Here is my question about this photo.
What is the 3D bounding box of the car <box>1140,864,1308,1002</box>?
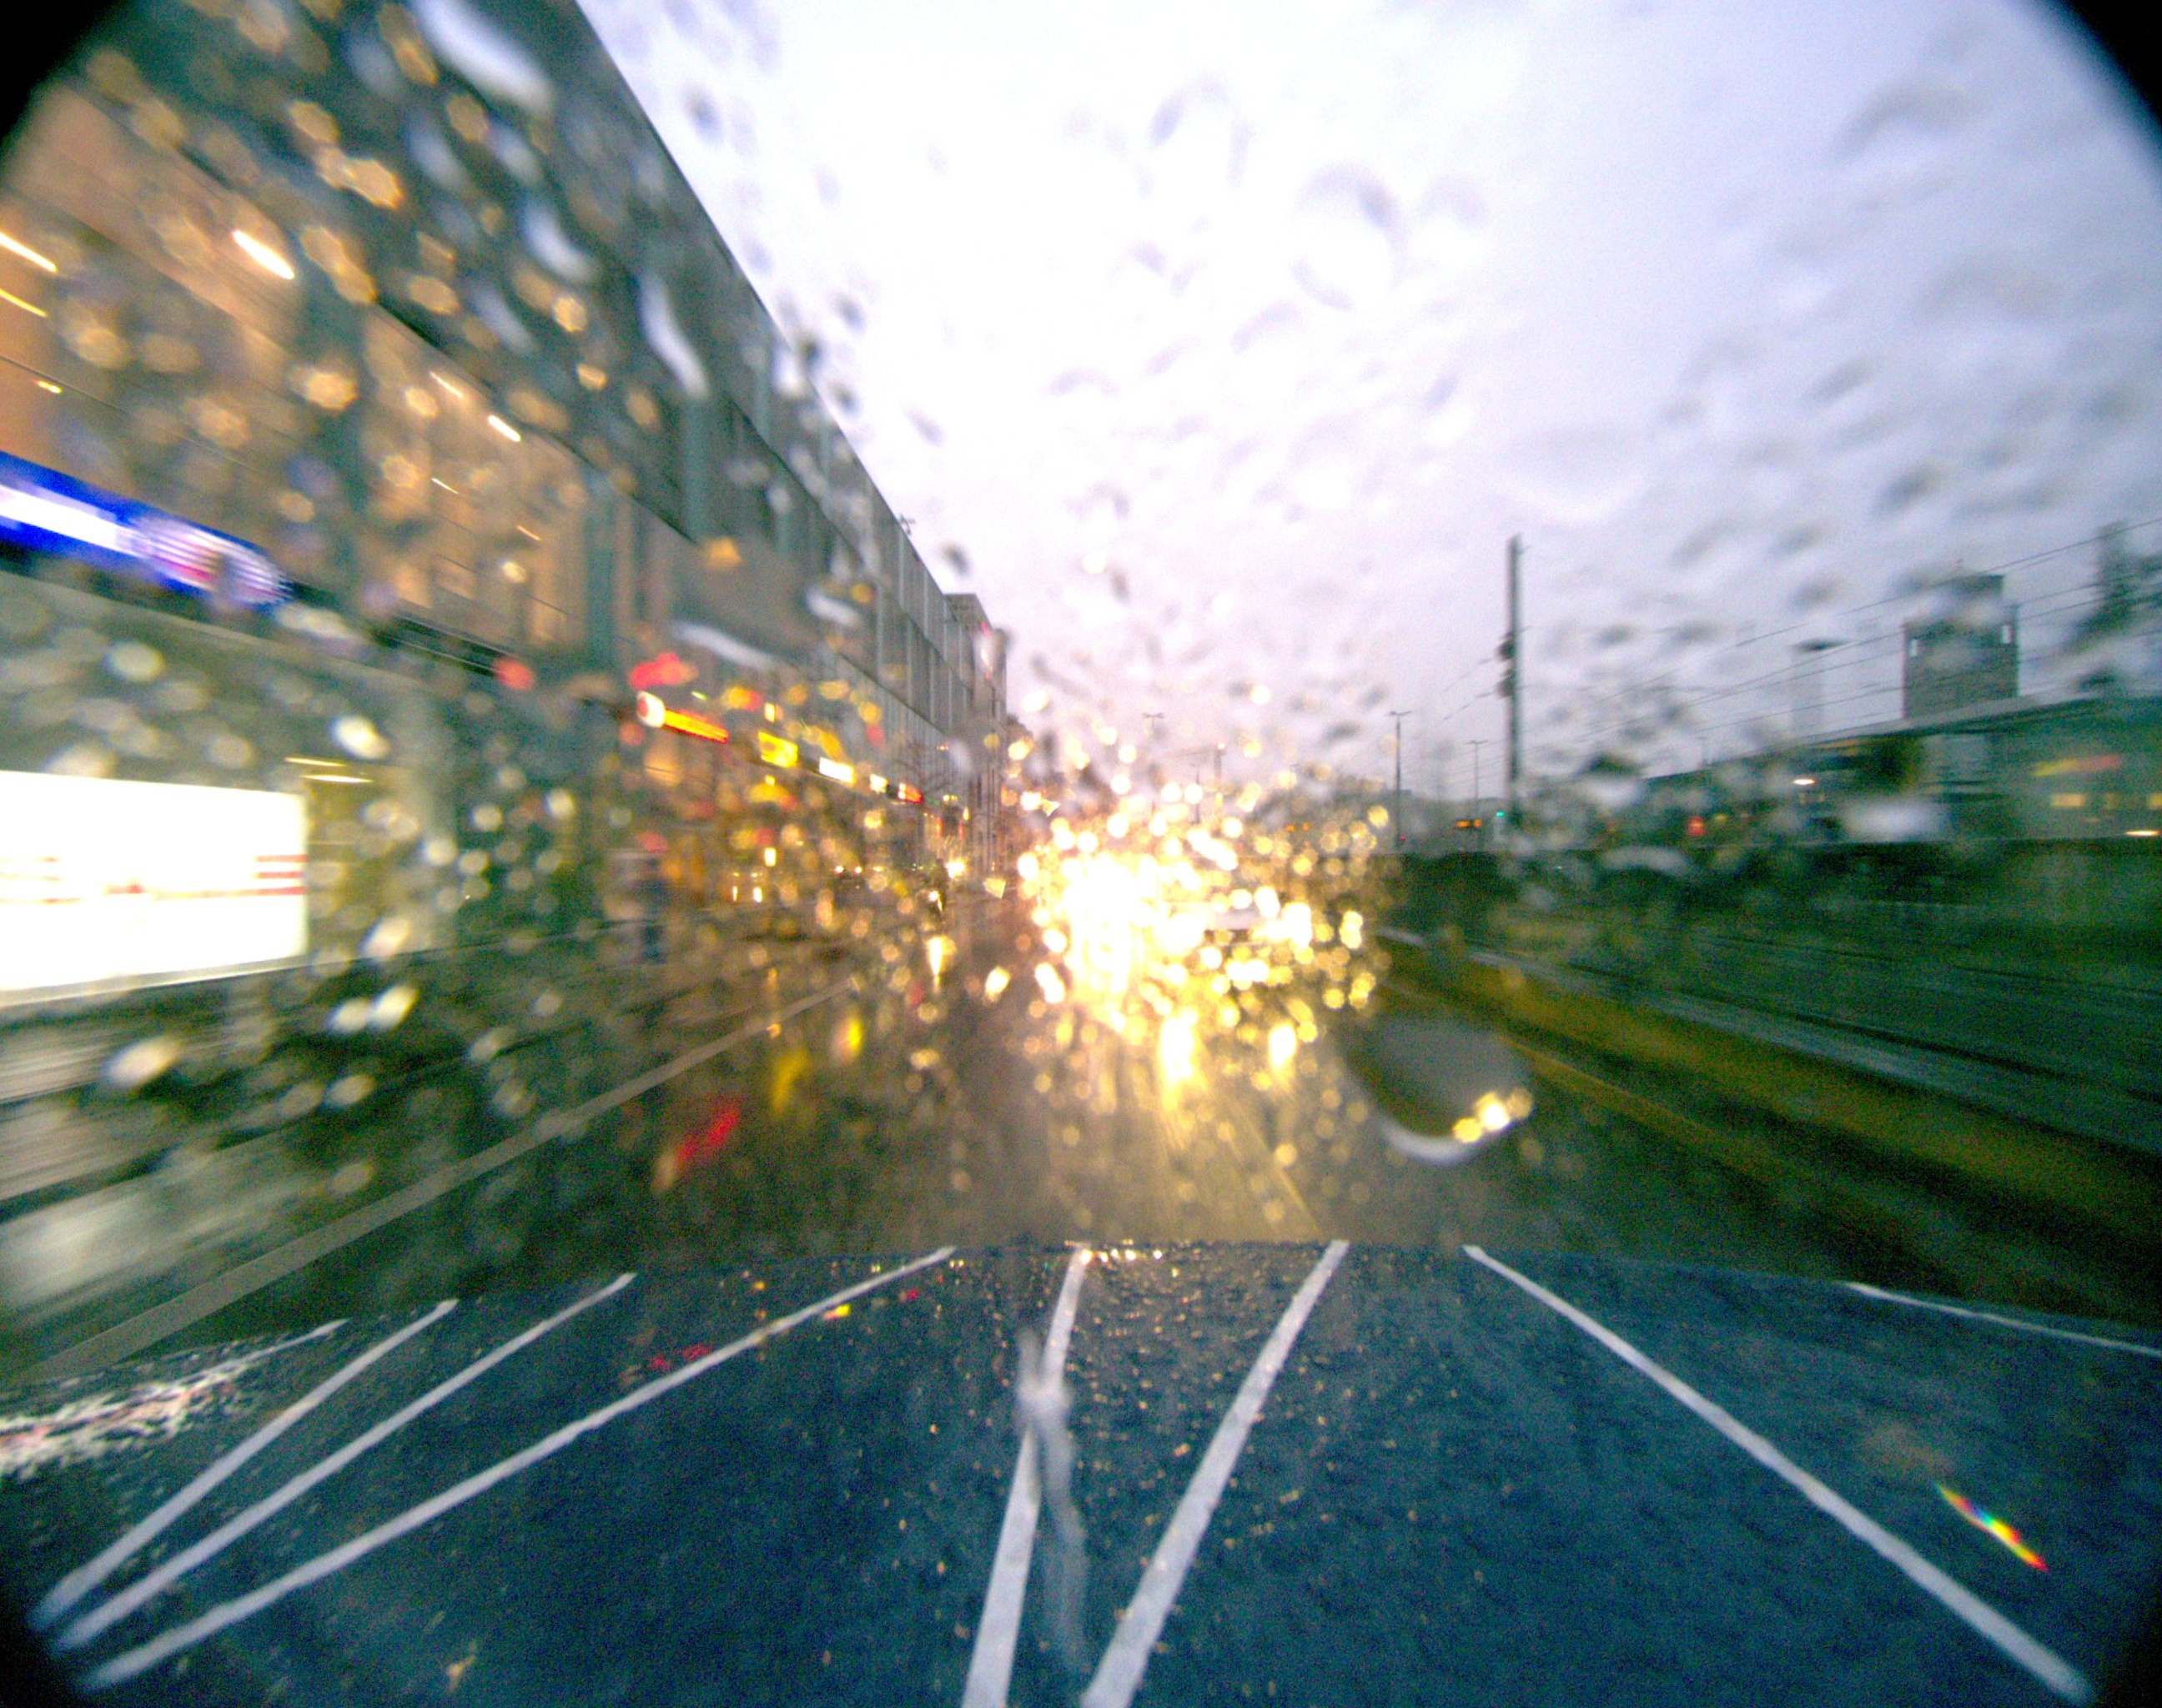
[{"bbox_3d":[1.773,0.933,10.667,1.813,1.464,4.140,-1,0,4],"label":"car"}]

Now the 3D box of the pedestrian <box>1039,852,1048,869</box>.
[{"bbox_3d":[-3.576,0.625,72.096,0.779,1.598,0.501,-1,0,3],"label":"pedestrian"}]

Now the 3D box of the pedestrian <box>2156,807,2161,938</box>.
[{"bbox_3d":[12.873,0.213,8.526,0.585,1.541,0.741,-1,1,13],"label":"pedestrian"}]

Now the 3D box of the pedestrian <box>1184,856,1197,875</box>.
[{"bbox_3d":[10.003,1.010,69.372,0.862,1.704,0.763,-2,1,-25],"label":"pedestrian"}]

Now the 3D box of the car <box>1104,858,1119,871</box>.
[{"bbox_3d":[3.843,1.342,97.263,1.867,1.652,3.987,-1,0,2],"label":"car"}]

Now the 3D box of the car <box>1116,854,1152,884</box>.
[{"bbox_3d":[3.133,0.877,45.334,1.998,1.673,4.001,-1,0,4],"label":"car"}]

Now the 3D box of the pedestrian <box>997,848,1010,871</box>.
[{"bbox_3d":[-7.156,0.516,70.406,0.960,2.179,0.712,-1,1,14],"label":"pedestrian"}]

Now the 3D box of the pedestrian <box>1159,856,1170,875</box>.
[{"bbox_3d":[7.589,1.055,68.959,0.655,1.708,0.749,-2,1,-25],"label":"pedestrian"}]

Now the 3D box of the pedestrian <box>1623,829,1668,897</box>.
[{"bbox_3d":[13.079,0.201,17.620,0.585,1.541,0.741,-1,1,13],"label":"pedestrian"}]

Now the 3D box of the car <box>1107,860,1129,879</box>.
[{"bbox_3d":[3.382,1.373,69.885,1.867,1.652,3.987,-1,0,2],"label":"car"}]

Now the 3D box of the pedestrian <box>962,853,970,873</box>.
[{"bbox_3d":[-10.469,0.783,69.230,0.616,1.794,0.624,-1,0,3],"label":"pedestrian"}]

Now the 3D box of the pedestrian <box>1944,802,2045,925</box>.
[{"bbox_3d":[13.021,0.132,10.850,0.585,1.692,0.741,-1,1,13],"label":"pedestrian"}]

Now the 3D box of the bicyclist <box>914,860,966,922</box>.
[{"bbox_3d":[-3.442,0.884,18.635,0.945,1.454,1.067,-1,0,7],"label":"bicyclist"}]

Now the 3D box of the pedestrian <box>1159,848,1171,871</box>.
[{"bbox_3d":[7.998,0.538,72.435,0.906,2.133,1.017,-1,1,-9],"label":"pedestrian"}]

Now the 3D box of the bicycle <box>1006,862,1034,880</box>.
[{"bbox_3d":[-4.278,1.188,53.493,1.908,1.168,0.667,1,0,2],"label":"bicycle"}]

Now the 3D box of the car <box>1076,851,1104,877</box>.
[{"bbox_3d":[0.732,0.713,56.283,1.864,1.867,4.001,-1,0,3],"label":"car"}]

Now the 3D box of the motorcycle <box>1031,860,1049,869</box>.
[{"bbox_3d":[-3.890,0.995,71.737,1.636,0.884,0.395,-1,0,3],"label":"motorcycle"}]

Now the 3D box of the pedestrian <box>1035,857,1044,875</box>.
[{"bbox_3d":[-3.725,1.080,68.854,0.707,1.684,0.723,1,0,-9],"label":"pedestrian"}]

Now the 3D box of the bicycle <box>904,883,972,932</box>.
[{"bbox_3d":[-3.430,1.270,18.483,0.945,0.993,2.241,-1,0,7],"label":"bicycle"}]

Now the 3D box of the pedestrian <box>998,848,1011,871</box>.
[{"bbox_3d":[-7.150,0.507,70.996,0.965,2.149,0.581,-1,1,14],"label":"pedestrian"}]
